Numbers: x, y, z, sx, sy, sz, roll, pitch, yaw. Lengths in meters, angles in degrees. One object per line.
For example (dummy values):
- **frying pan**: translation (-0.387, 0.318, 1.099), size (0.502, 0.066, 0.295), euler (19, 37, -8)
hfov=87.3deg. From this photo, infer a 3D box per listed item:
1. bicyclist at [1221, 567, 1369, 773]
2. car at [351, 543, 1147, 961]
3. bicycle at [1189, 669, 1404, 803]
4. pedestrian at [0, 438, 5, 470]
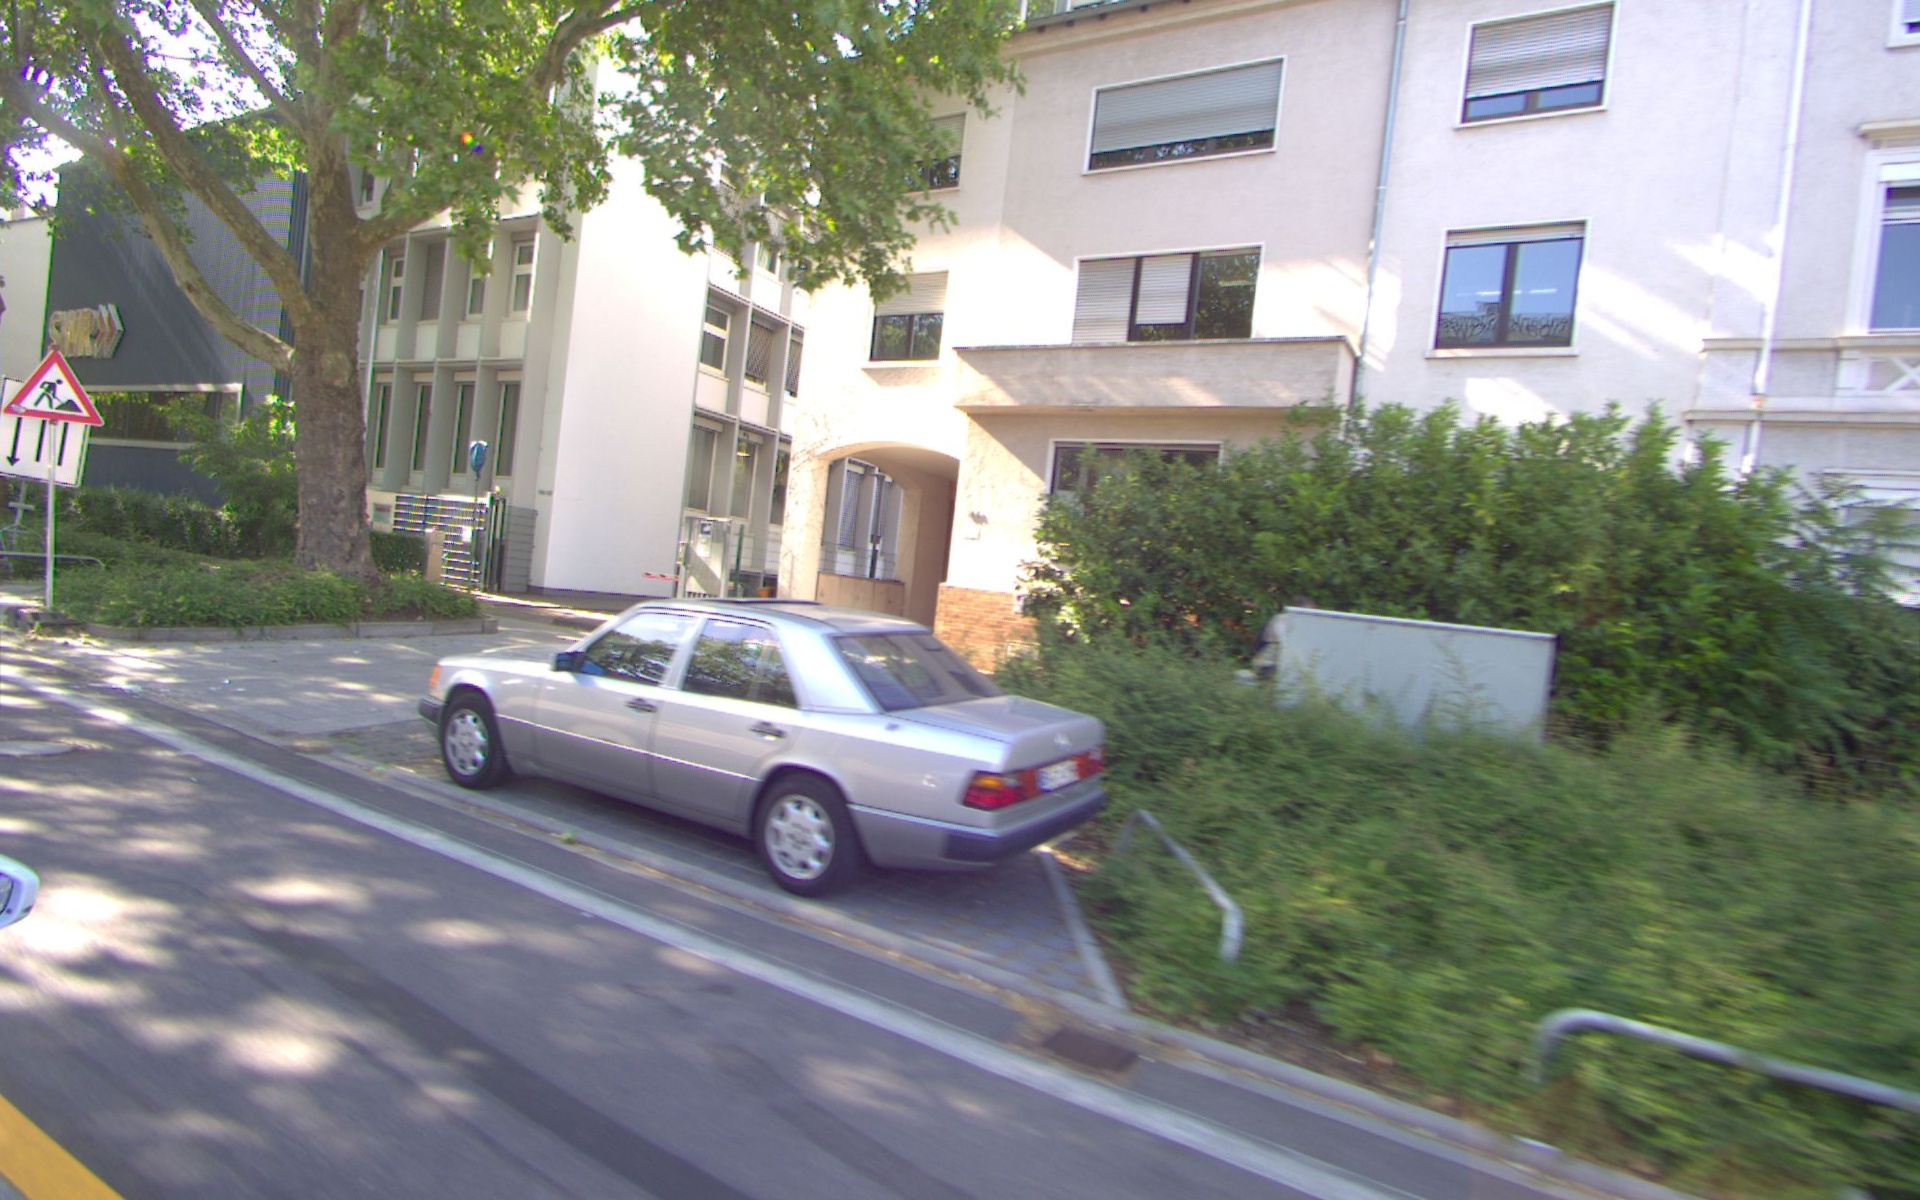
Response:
- **bicyclist**: translation (3.315, 0.673, 9.949), size (1.053, 1.843, 0.725), euler (7, 1, 31)
- **car**: translation (-1.498, 0.676, 6.462), size (4.857, 1.497, 1.856), euler (7, 0, 29)
- **bicycle**: translation (3.308, 1.297, 9.948), size (1.793, 0.978, 0.783), euler (7, 0, 32)
- **pedestrian**: translation (-27.542, -3.805, 28.238), size (0.663, 1.668, 0.707), euler (10, 0, 27)
